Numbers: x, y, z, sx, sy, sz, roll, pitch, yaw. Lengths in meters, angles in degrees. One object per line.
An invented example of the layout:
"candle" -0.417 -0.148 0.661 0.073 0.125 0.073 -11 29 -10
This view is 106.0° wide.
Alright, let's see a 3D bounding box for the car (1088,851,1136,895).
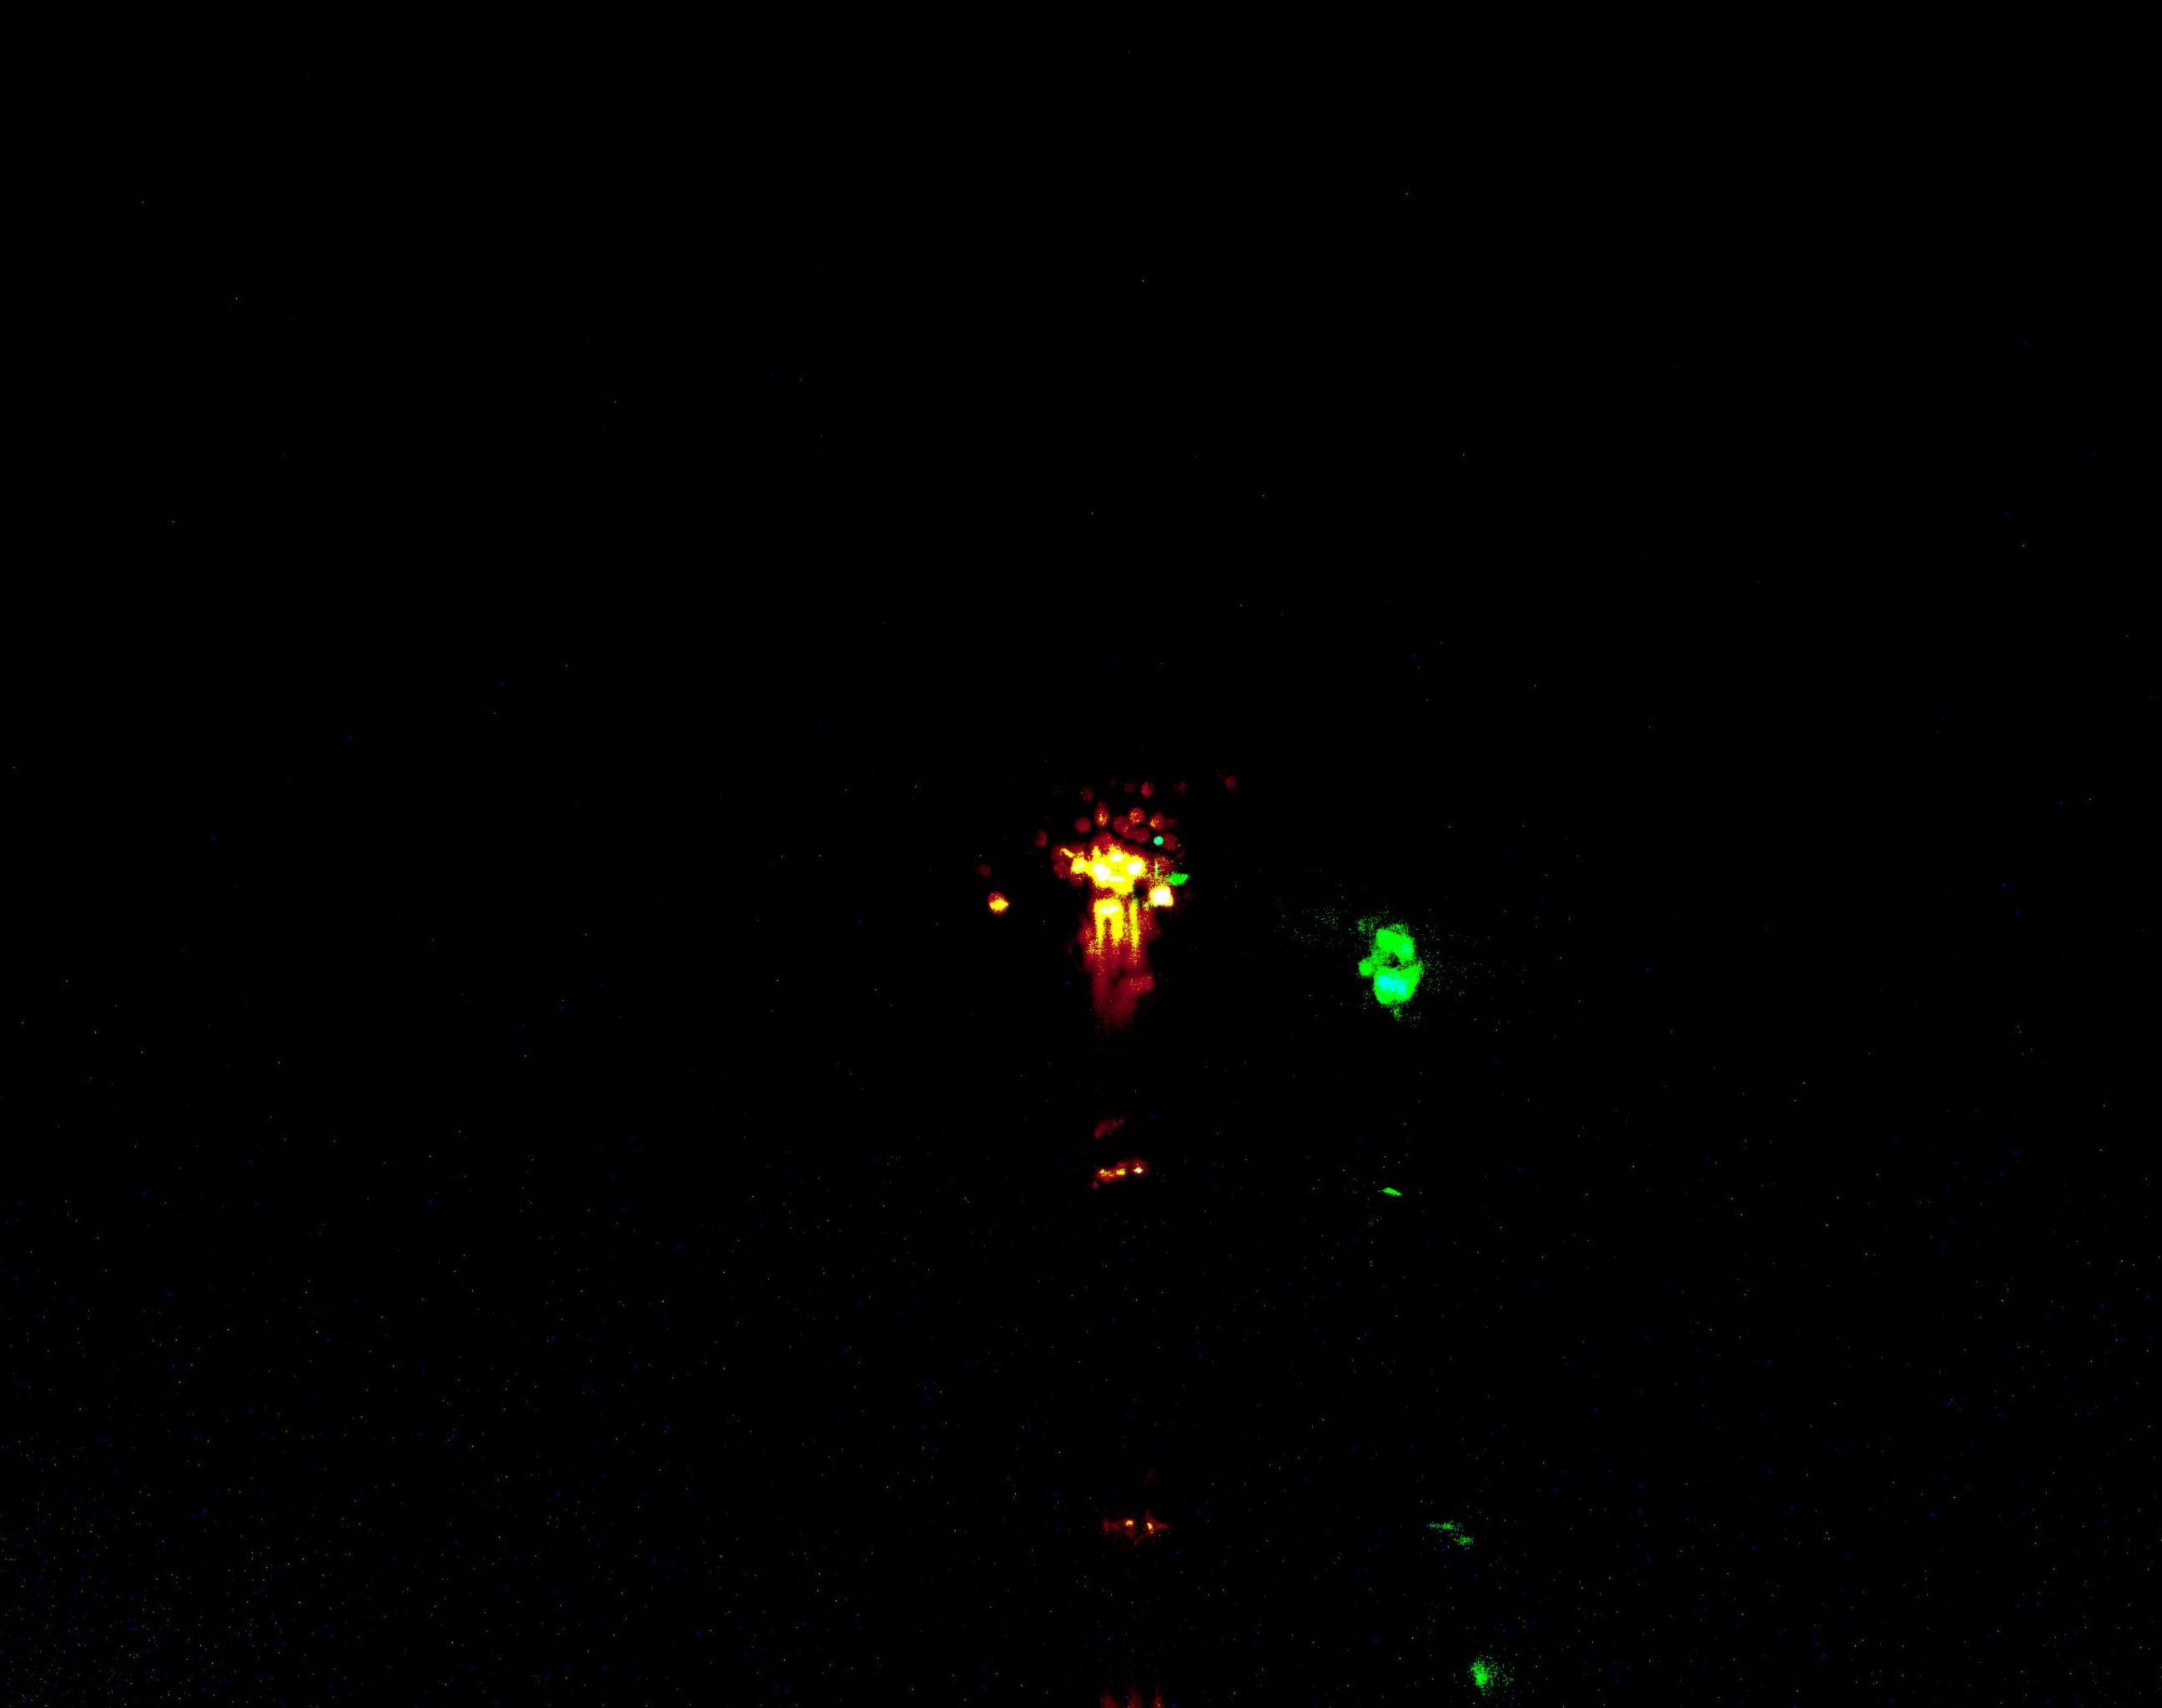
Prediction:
"car" 1.240 0.734 32.912 1.794 1.628 3.617 -1 0 2
